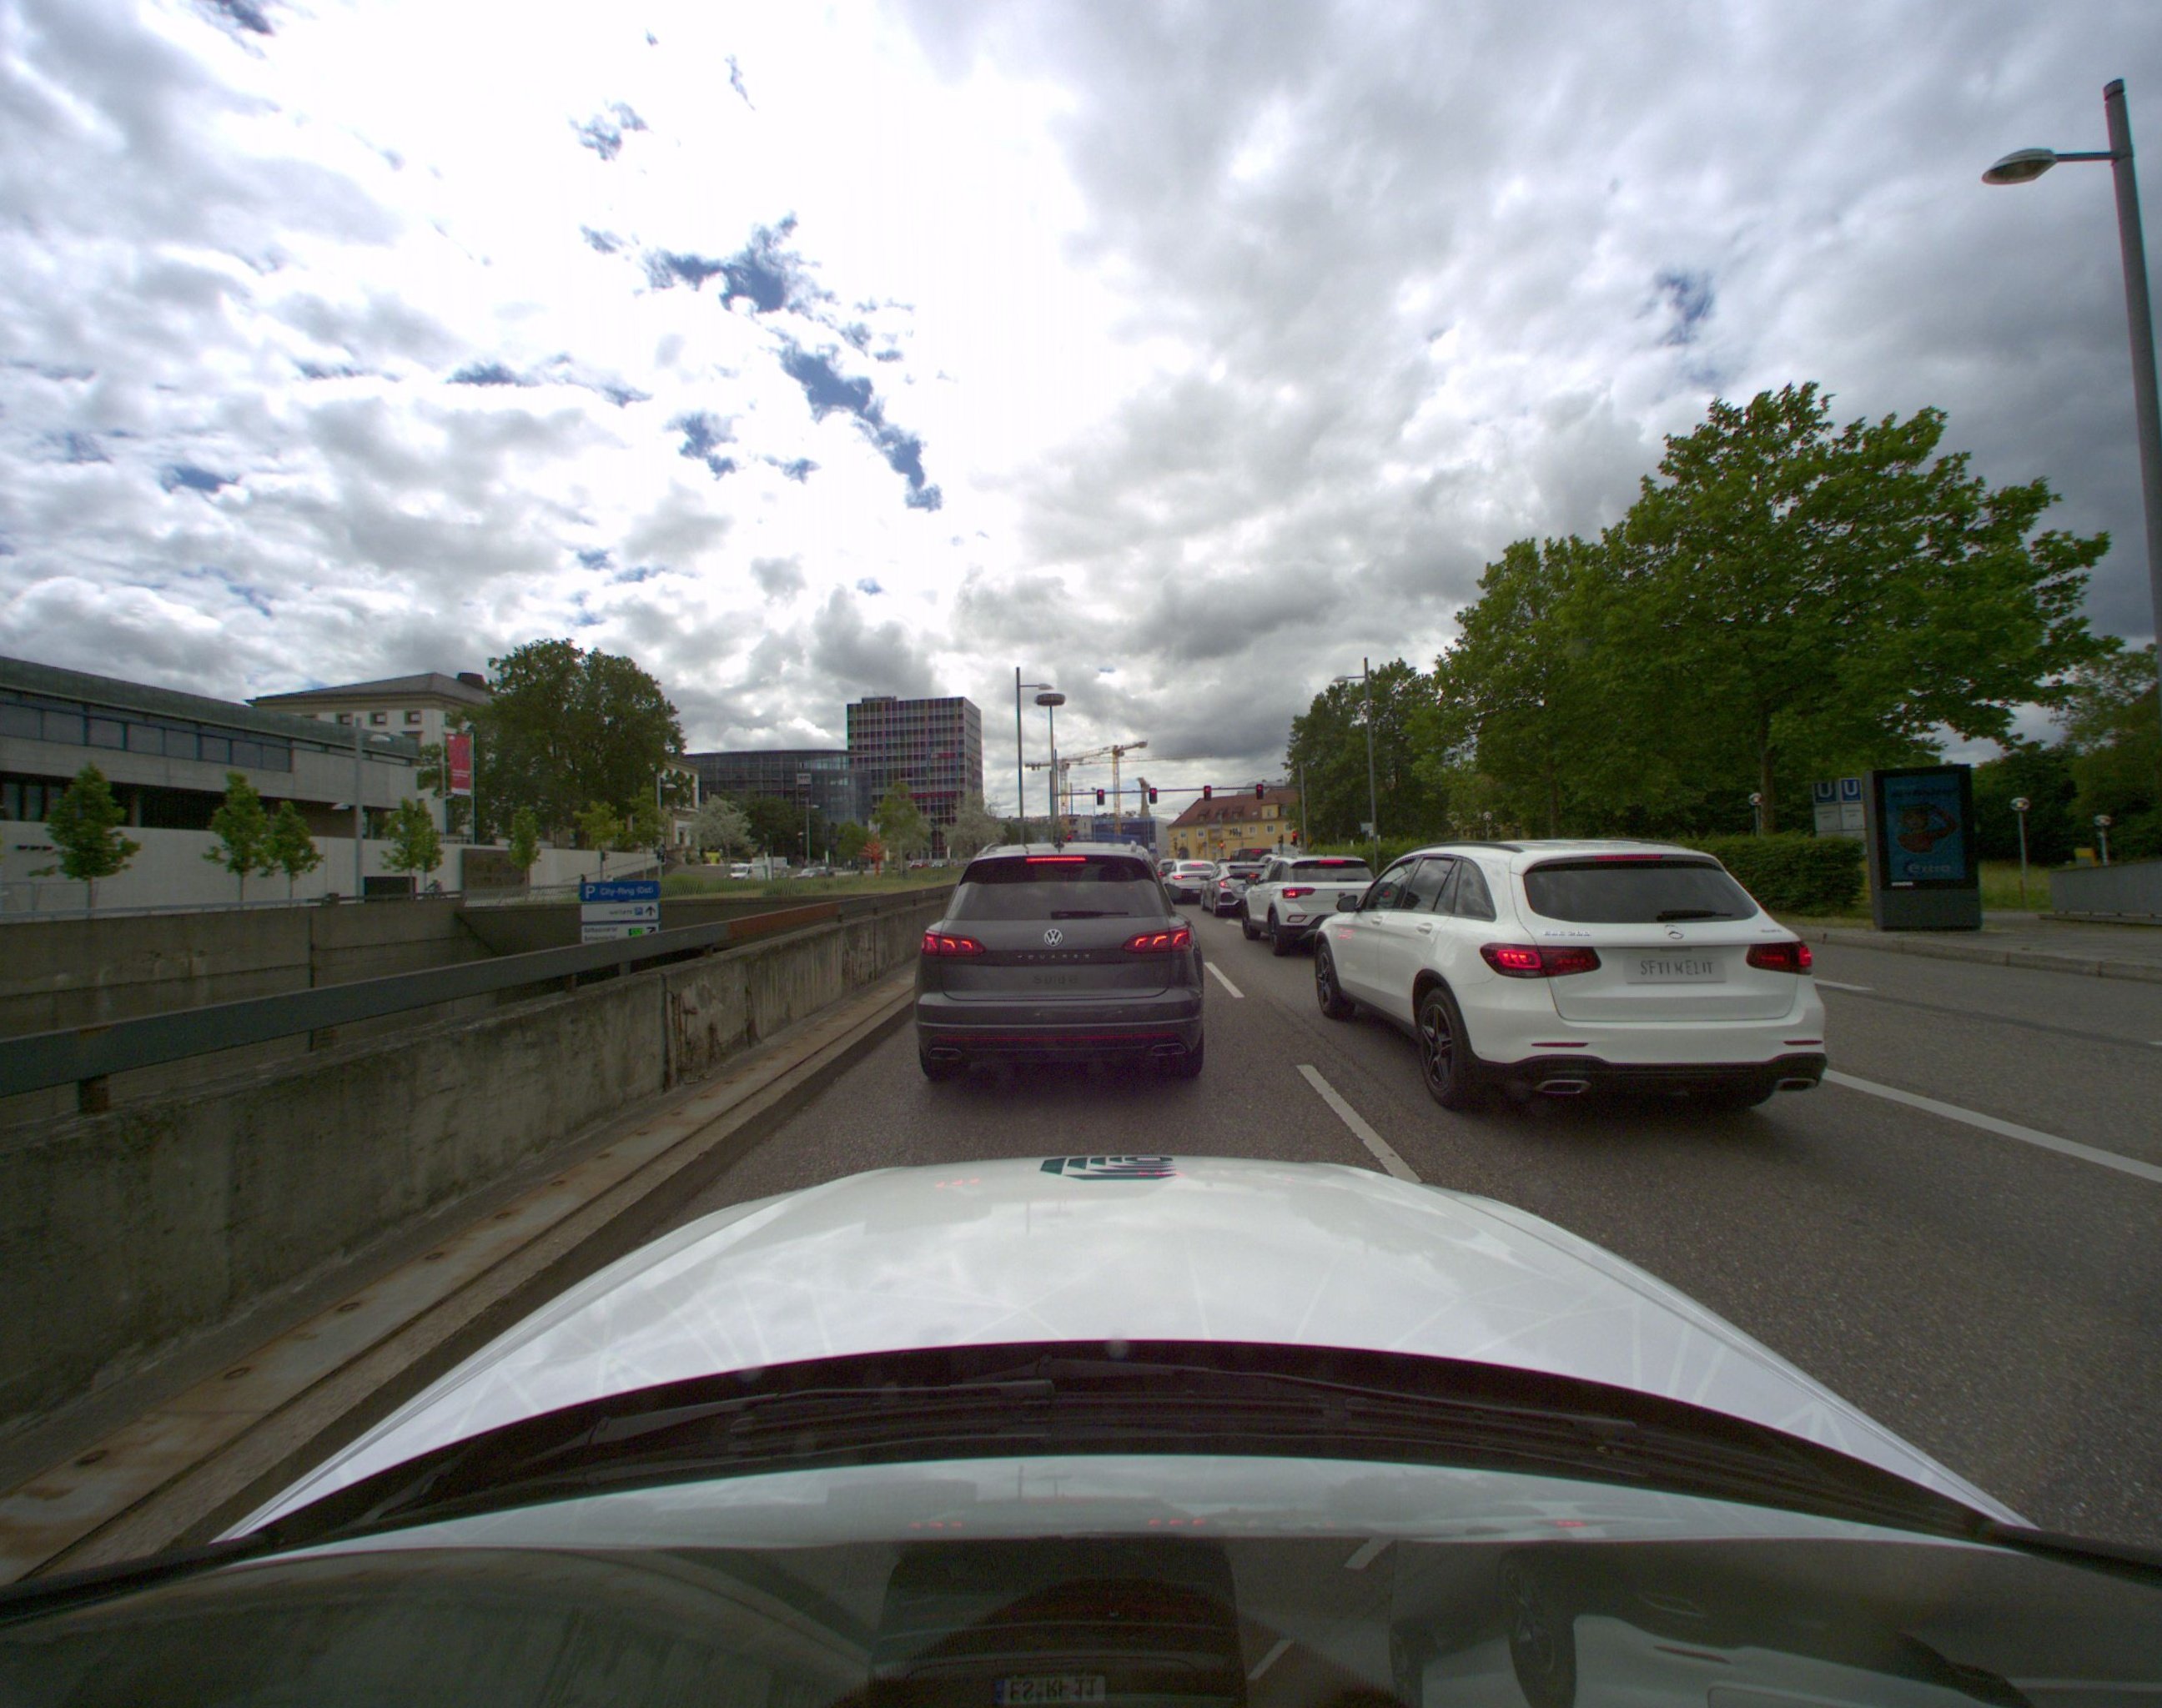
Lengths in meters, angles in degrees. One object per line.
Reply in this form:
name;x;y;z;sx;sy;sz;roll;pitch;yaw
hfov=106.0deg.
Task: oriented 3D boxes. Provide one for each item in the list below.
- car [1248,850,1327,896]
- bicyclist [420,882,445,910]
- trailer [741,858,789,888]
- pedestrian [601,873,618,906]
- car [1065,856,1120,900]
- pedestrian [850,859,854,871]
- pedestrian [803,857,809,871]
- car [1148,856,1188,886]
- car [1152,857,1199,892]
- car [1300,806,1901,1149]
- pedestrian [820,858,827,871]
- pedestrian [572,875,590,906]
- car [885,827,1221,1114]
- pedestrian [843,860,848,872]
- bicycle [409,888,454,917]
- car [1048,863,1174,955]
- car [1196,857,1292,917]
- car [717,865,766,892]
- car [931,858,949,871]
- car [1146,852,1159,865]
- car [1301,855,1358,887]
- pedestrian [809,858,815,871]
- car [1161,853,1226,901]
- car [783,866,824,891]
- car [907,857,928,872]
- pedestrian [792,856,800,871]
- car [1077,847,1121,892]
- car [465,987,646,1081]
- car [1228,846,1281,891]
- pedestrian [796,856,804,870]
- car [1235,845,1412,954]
car;8.110;0.689;32.359;1.988;1.640;4.303;-1;1;-1
bicyclist;-36.717;2.367;46.141;0.728;1.554;0.776;0;-2;1
trailer;-28.816;1.694;74.415;2.030;2.604;5.511;0;0;2
pedestrian;-30.254;2.263;52.250;0.866;2.013;0.622;-2;1;-33
car;0.474;0.870;31.148;1.944;1.600;3.932;0;0;2
pedestrian;-41.101;1.994;146.184;0.739;2.013;0.789;-2;1;-14
pedestrian;-42.799;1.554;126.579;0.741;2.013;0.914;-2;1;-22
car;4.659;0.924;44.060;1.918;1.529;4.050;-1;-1;3
car;4.338;0.933;37.775;1.918;1.529;4.050;-1;-1;3
car;3.147;0.616;6.256;1.918;1.653;4.493;-1;0;3
pedestrian;-40.996;1.649;129.754;0.784;2.013;0.744;-2;1;19
pedestrian;-33.677;2.473;54.819;0.731;2.013;0.798;-1;1;40
car;-0.107;0.697;6.780;1.944;1.651;4.001;-1;0;1
pedestrian;-42.845;2.188;148.267;0.741;2.013;0.787;-2;1;-20
bicycle;-36.723;2.717;46.106;0.723;1.536;2.190;0;-2;1
car;0.519;0.875;14.505;1.944;1.384;3.932;0;0;2
car;4.312;0.846;22.219;1.918;1.432;4.493;-1;-1;3
car;-28.816;2.047;69.288;1.985;2.013;4.695;-2;1;3
car;-23.641;1.809;137.018;1.986;2.013;4.694;-2;1;1
car;9.716;0.640;111.263;1.612;1.627;4.002;0;-2;3
car;12.120;0.836;40.013;1.921;1.460;4.535;0;-1;7
pedestrian;-42.128;1.585;127.634;0.741;2.013;0.914;-2;1;-21
car;3.901;0.790;28.960;1.918;1.529;4.493;-1;-1;3
car;-25.679;2.223;75.514;1.985;2.013;4.695;-2;1;3
car;-24.249;1.524;120.955;1.986;2.013;4.694;-2;1;2
pedestrian;-38.785;1.256;110.795;0.735;2.014;0.794;-2;-3;4
car;0.874;0.708;38.680;1.944;2.018;3.932;0;0;2
car;-19.096;6.472;30.116;2.610;2.311;5.936;0;-2;2
car;8.260;0.681;39.051;1.902;2.014;4.014;0;-1;3
pedestrian;-40.200;1.280;116.405;0.735;2.013;0.793;-2;1;2
car;3.931;0.700;14.039;1.918;1.551;4.493;-1;-1;3
